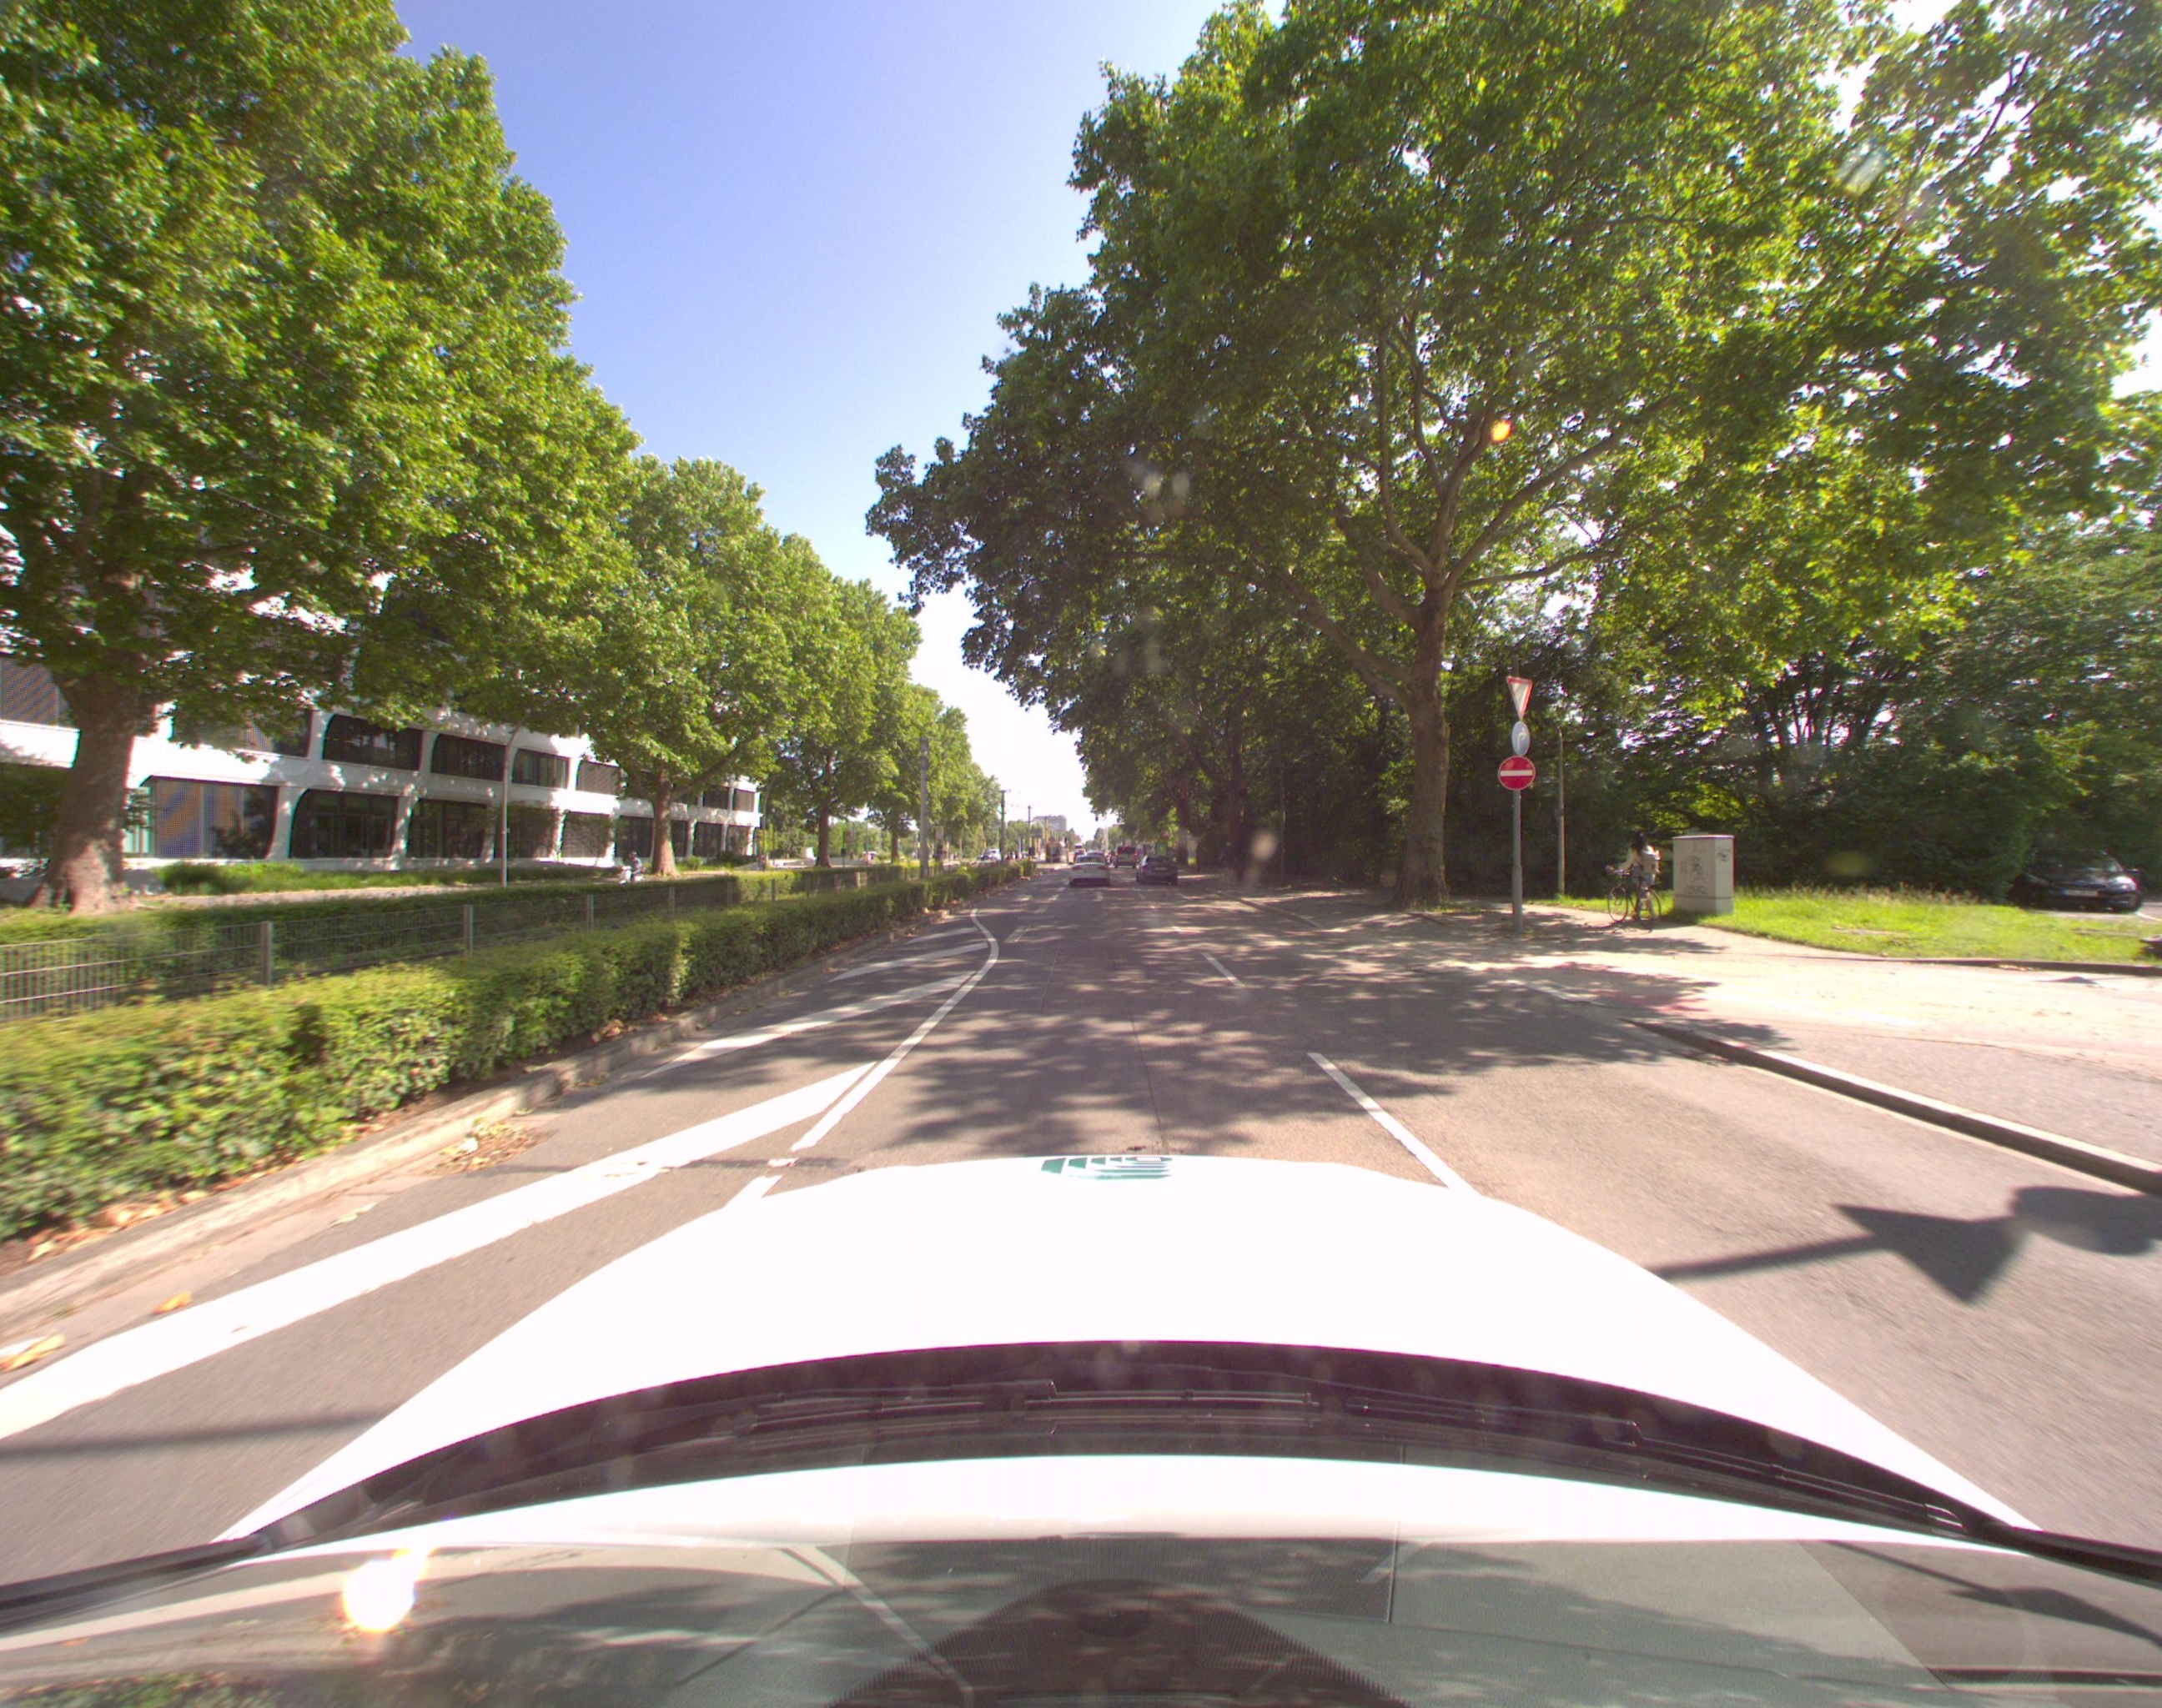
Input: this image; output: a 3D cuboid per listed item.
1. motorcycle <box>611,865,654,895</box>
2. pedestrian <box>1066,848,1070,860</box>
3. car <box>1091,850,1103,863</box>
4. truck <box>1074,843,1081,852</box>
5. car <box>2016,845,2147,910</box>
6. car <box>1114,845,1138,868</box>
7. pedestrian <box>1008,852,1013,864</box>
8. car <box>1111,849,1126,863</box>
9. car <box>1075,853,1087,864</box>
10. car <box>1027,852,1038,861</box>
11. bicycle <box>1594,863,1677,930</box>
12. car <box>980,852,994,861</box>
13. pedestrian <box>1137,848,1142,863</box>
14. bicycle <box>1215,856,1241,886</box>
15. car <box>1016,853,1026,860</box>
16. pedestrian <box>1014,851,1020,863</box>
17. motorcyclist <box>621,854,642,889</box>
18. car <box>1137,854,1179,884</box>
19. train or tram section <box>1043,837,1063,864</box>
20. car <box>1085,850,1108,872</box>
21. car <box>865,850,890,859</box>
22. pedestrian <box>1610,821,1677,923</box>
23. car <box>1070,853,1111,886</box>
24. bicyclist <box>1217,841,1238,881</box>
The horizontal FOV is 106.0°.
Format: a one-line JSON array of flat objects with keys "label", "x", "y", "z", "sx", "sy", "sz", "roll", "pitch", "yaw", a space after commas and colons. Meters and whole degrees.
[{"label": "motorcycle", "x": -18.461, "y": 1.061, "z": 33.577, "sx": 0.630, "sy": 1.175, "sz": 2.000, "roll": 0, "pitch": 0, "yaw": 1}, {"label": "pedestrian", "x": -2.048, "y": 0.049, "z": 128.935, "sx": 0.621, "sy": 1.918, "sz": 0.690, "roll": 0, "pitch": 0, "yaw": 1}, {"label": "car", "x": 2.433, "y": 0.297, "z": 121.692, "sx": 1.723, "sy": 1.901, "sz": 4.001, "roll": 0, "pitch": 0, "yaw": 1}, {"label": "truck", "x": -1.125, "y": -1.932, "z": 261.616, "sx": 1.986, "sy": 2.790, "sz": 8.522, "roll": 0, "pitch": 0, "yaw": 2}, {"label": "car", "x": 24.674, "y": 0.515, "z": 20.056, "sx": 4.015, "sy": 1.454, "sz": 1.666, "roll": 0, "pitch": 0, "yaw": -34}, {"label": "car", "x": 4.445, "y": 0.195, "z": 80.423, "sx": 2.222, "sy": 2.212, "sz": 4.163, "roll": 0, "pitch": 0, "yaw": 1}, {"label": "pedestrian", "x": -9.650, "y": 0.565, "z": 111.897, "sx": 0.590, "sy": 1.646, "sz": 0.554, "roll": 0, "pitch": 0, "yaw": 1}, {"label": "car", "x": 5.630, "y": 0.321, "z": 122.521, "sx": 2.064, "sy": 1.999, "sz": 4.059, "roll": 0, "pitch": 0, "yaw": 1}, {"label": "car", "x": 0.009, "y": 0.635, "z": 120.595, "sx": 1.723, "sy": 1.631, "sz": 4.001, "roll": 0, "pitch": 0, "yaw": 1}, {"label": "car", "x": -9.981, "y": 0.555, "z": 168.765, "sx": 1.986, "sy": 1.734, "sz": 4.002, "roll": 0, "pitch": 0, "yaw": 2}, {"label": "bicycle", "x": 9.797, "y": 0.719, "z": 14.449, "sx": 0.348, "sy": 1.082, "sz": 1.699, "roll": 0, "pitch": 0, "yaw": 1}, {"label": "car", "x": -16.620, "y": 0.471, "z": 143.883, "sx": 1.823, "sy": 1.624, "sz": 4.897, "roll": 0, "pitch": 0, "yaw": 1}, {"label": "pedestrian", "x": 7.492, "y": 0.174, "z": 104.160, "sx": 0.633, "sy": 1.946, "sz": 0.719, "roll": 0, "pitch": 0, "yaw": 1}, {"label": "bicycle", "x": 6.308, "y": 0.700, "z": 35.033, "sx": 0.712, "sy": 1.148, "sz": 2.178, "roll": -3, "pitch": 2, "yaw": 0}, {"label": "car", "x": -12.991, "y": 0.539, "z": 176.609, "sx": 1.864, "sy": 1.609, "sz": 4.002, "roll": 0, "pitch": 0, "yaw": 2}, {"label": "pedestrian", "x": -9.309, "y": 0.427, "z": 118.949, "sx": 0.770, "sy": 1.734, "sz": 0.756, "roll": 0, "pitch": 0, "yaw": 10}, {"label": "motorcyclist", "x": -18.475, "y": 0.716, "z": 33.490, "sx": 0.579, "sy": 1.457, "sz": 0.533, "roll": 0, "pitch": 0, "yaw": 1}, {"label": "car", "x": 3.748, "y": 0.698, "z": 40.178, "sx": 1.776, "sy": 1.420, "sz": 4.001, "roll": 0, "pitch": 0, "yaw": 1}, {"label": "train or tram section", "x": -4.274, "y": -0.521, "z": 125.384, "sx": 2.607, "sy": 4.015, "sz": 7.752, "roll": 0, "pitch": 0, "yaw": 2}, {"label": "car", "x": 1.187, "y": 0.528, "z": 62.618, "sx": 1.723, "sy": 1.605, "sz": 3.886, "roll": 0, "pitch": 0, "yaw": 1}, {"label": "car", "x": -35.036, "y": 0.153, "z": 140.027, "sx": 3.833, "sy": 1.549, "sz": 1.770, "roll": 0, "pitch": 0, "yaw": 1}, {"label": "pedestrian", "x": 10.144, "y": 0.315, "z": 14.710, "sx": 0.630, "sy": 1.785, "sz": 0.874, "roll": 0, "pitch": 0, "yaw": 1}, {"label": "car", "x": 0.453, "y": 0.651, "z": 37.008, "sx": 1.778, "sy": 1.420, "sz": 3.886, "roll": 0, "pitch": 0, "yaw": 1}, {"label": "bicyclist", "x": 6.284, "y": 0.297, "z": 34.982, "sx": 0.632, "sy": 1.648, "sz": 0.979, "roll": -3, "pitch": 1, "yaw": 0}]
